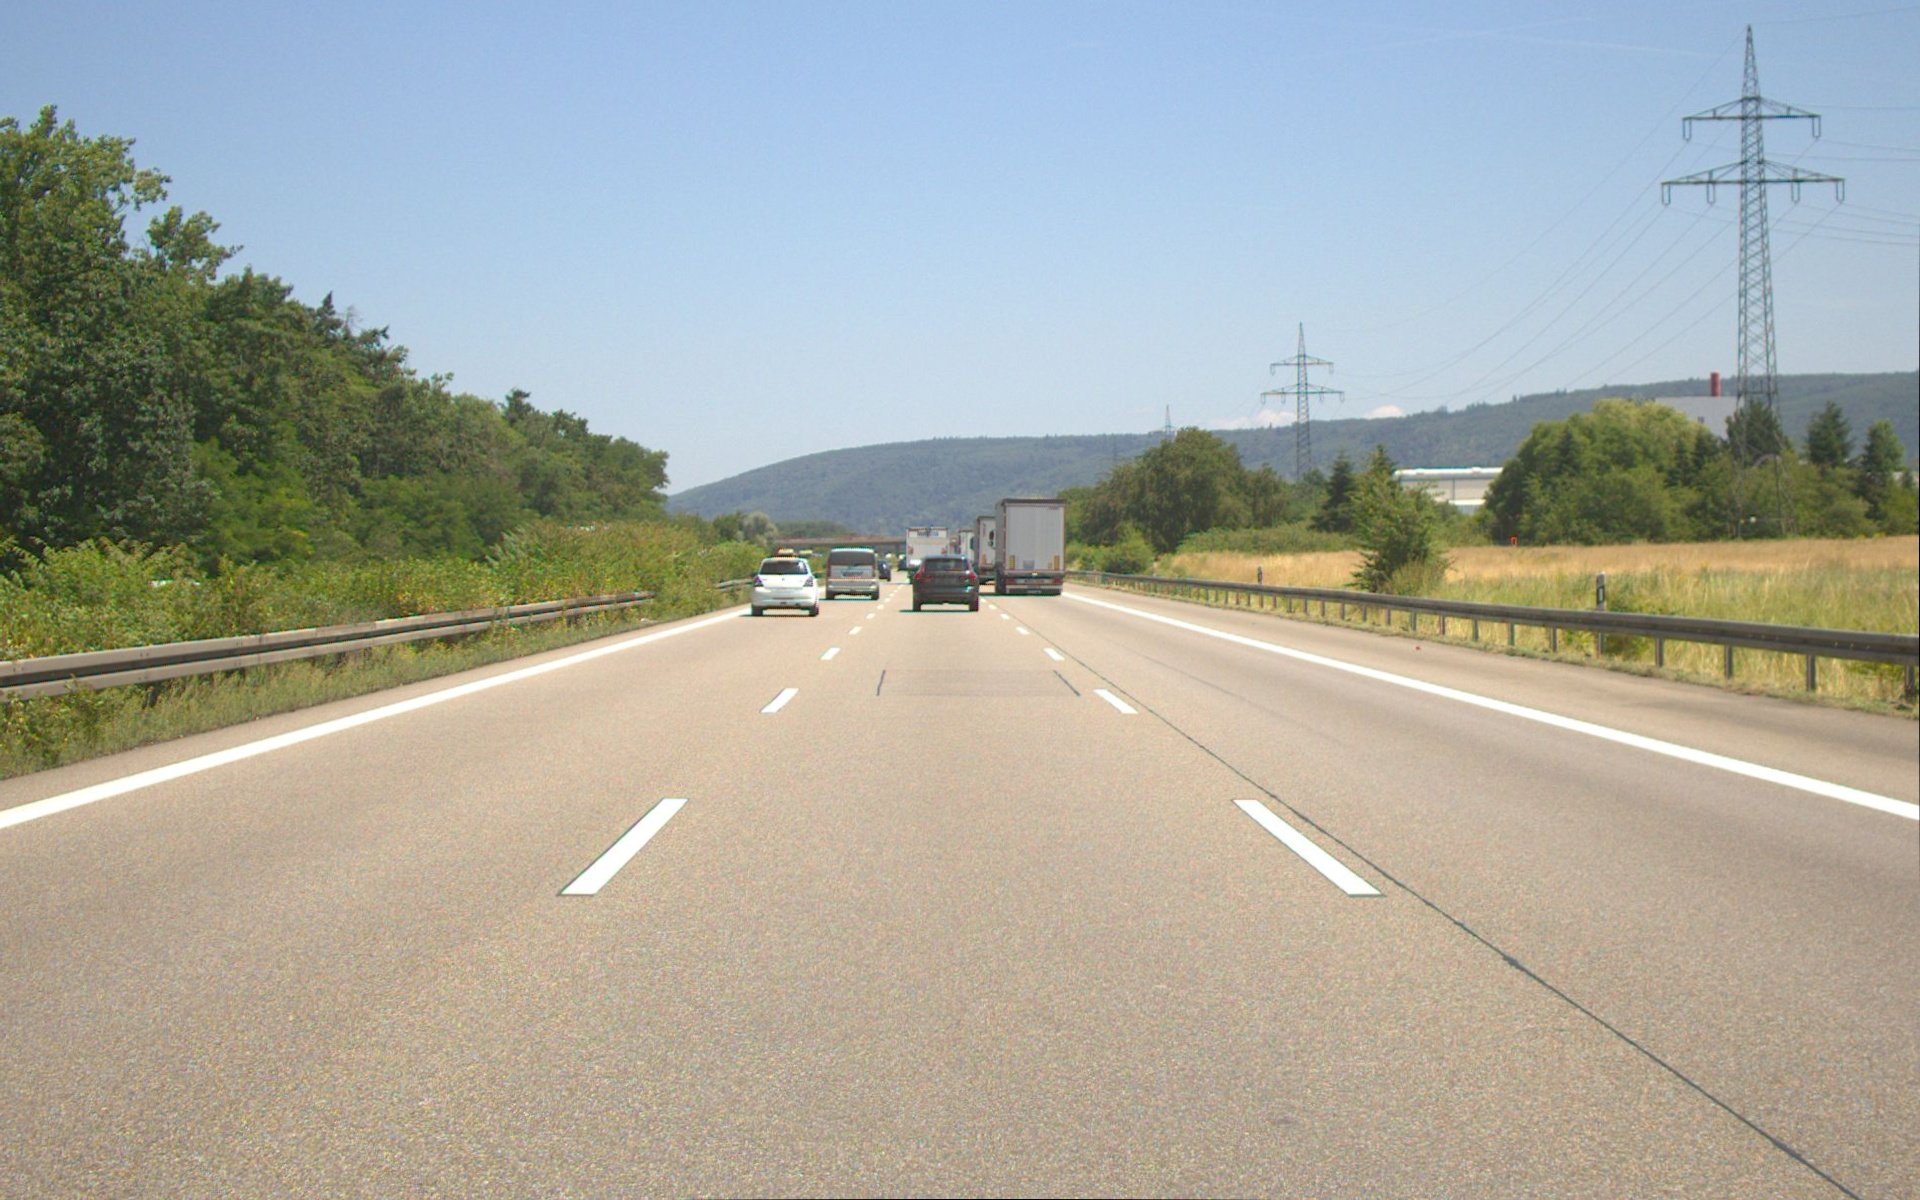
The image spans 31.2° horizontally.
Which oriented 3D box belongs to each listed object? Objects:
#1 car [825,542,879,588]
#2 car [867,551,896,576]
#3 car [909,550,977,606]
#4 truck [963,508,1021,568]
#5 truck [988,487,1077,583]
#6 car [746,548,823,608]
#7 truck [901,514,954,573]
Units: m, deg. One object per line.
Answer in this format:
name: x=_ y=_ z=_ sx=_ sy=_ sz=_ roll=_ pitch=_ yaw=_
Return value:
car: x=-3.921 y=-1.283 z=125.768 sx=1.852 sy=1.627 sz=4.000 roll=1 pitch=1 yaw=0
car: x=-5.302 y=-2.464 z=231.595 sx=1.852 sy=1.627 sz=4.000 roll=1 pitch=1 yaw=0
car: x=-0.494 y=-0.650 z=98.890 sx=1.885 sy=1.510 sz=4.000 roll=1 pitch=1 yaw=0
truck: x=1.879 y=-3.715 z=205.728 sx=3.097 sy=3.462 sz=11.543 roll=1 pitch=1 yaw=-1
truck: x=2.995 y=-2.742 z=145.685 sx=3.265 sy=3.844 sz=11.632 roll=1 pitch=1 yaw=-1
car: x=-4.555 y=-0.594 z=89.511 sx=1.806 sy=1.463 sz=4.000 roll=1 pitch=1 yaw=0
truck: x=-2.062 y=-3.489 z=212.015 sx=3.097 sy=3.462 sz=11.543 roll=1 pitch=1 yaw=-1
